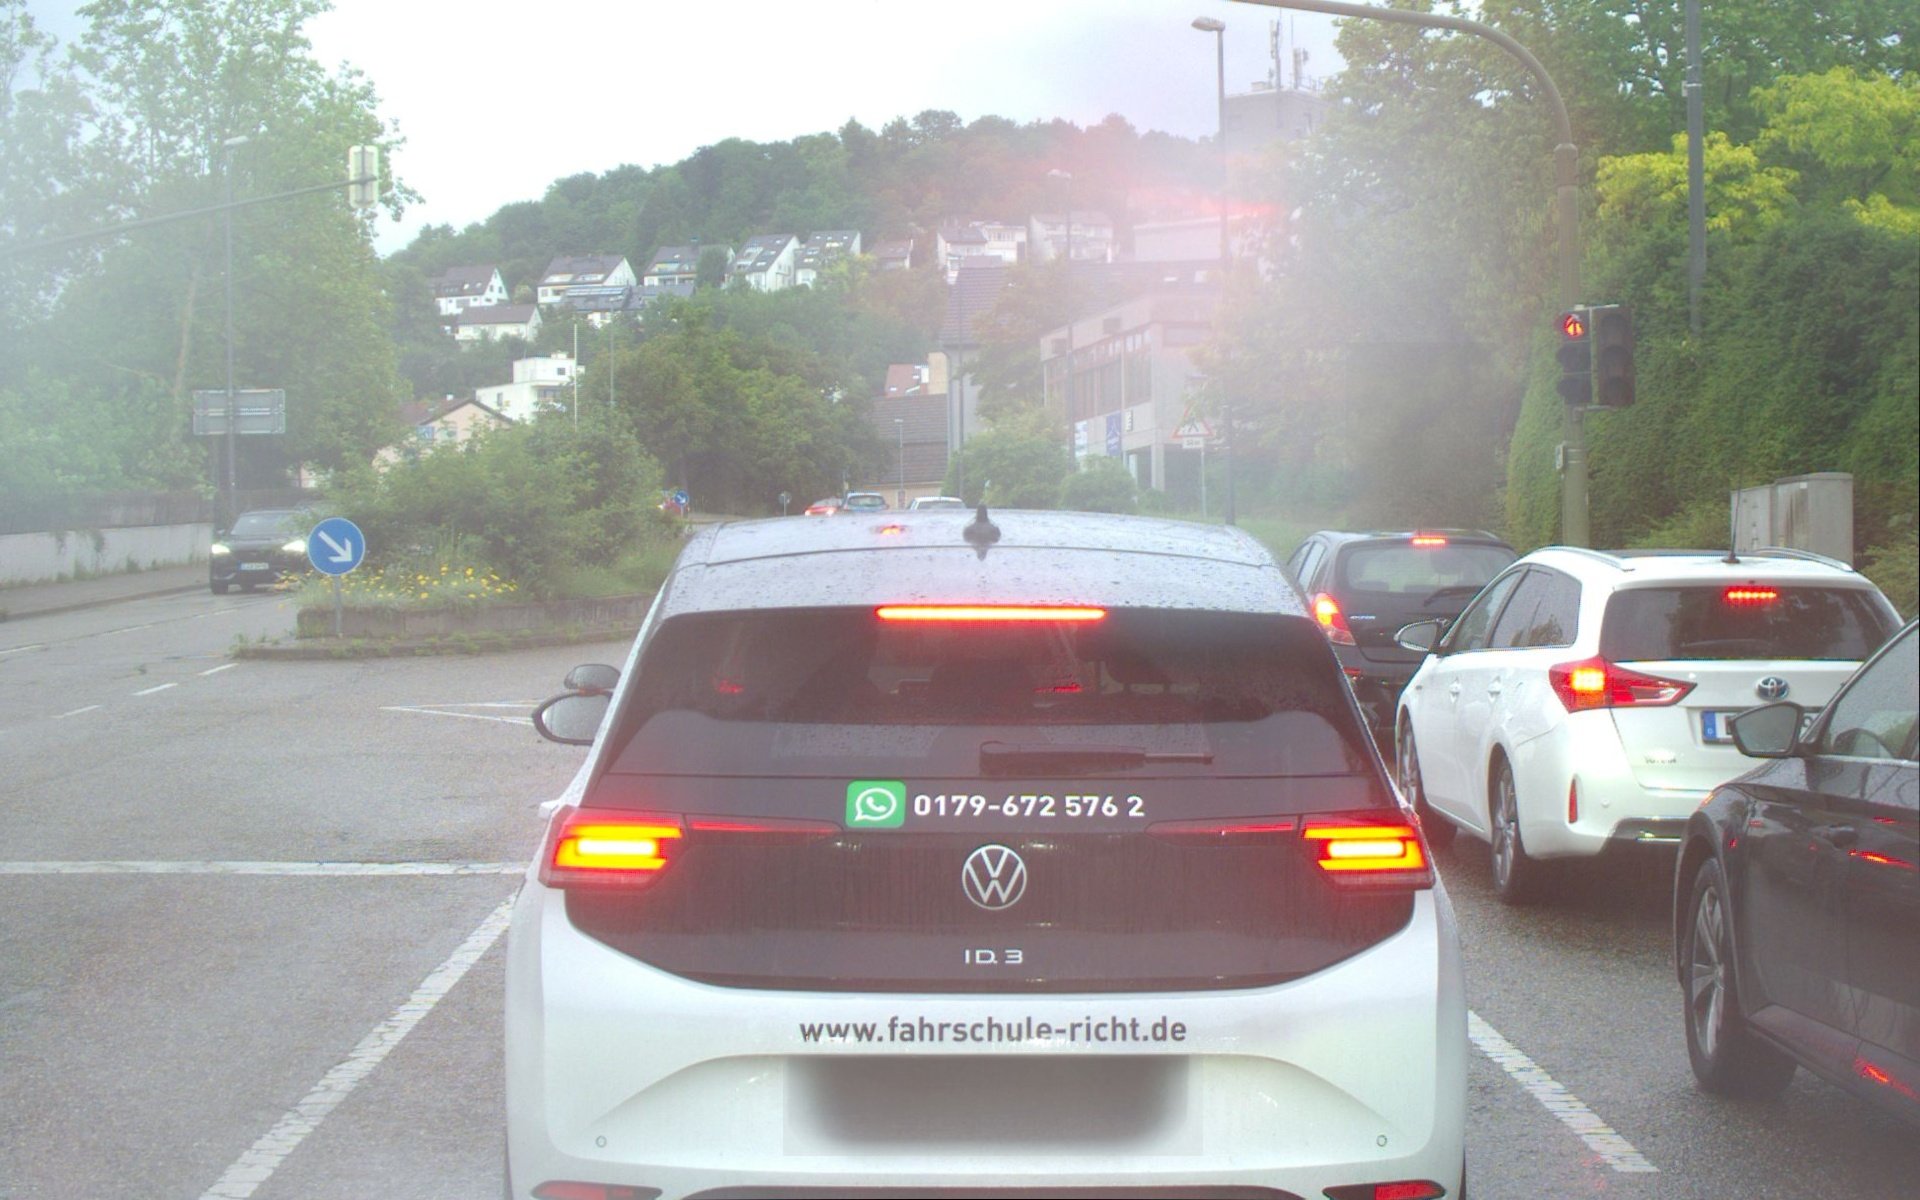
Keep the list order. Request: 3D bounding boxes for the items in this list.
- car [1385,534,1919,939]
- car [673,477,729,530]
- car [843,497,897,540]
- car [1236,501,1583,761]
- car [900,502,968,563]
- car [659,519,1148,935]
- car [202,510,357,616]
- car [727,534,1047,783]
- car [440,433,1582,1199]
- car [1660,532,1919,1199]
[{"bbox_3d":[3.074,0.478,14.916,1.837,1.461,4.117,1,1,-1],"label":"car"},{"bbox_3d":[-10.571,-3.926,140.431,1.993,2.007,4.000,1,0,0],"label":"car"},{"bbox_3d":[-3.124,-2.822,118.910,1.761,1.413,3.749,-1,2,-3],"label":"car"},{"bbox_3d":[2.948,0.167,23.318,1.775,1.576,4.000,1,1,0],"label":"car"},{"bbox_3d":[-0.672,-1.657,85.339,1.581,1.462,4.000,-1,1,-1],"label":"car"},{"bbox_3d":[-0.258,0.438,15.240,1.837,1.549,4.175,1,1,-1],"label":"car"},{"bbox_3d":[-12.440,-0.691,63.080,1.993,1.798,4.000,-3,1,0],"label":"car"},{"bbox_3d":[-0.466,0.308,22.011,1.837,1.395,3.831,1,1,-1],"label":"car"},{"bbox_3d":[0.032,0.504,7.922,1.837,1.623,4.616,1,1,-1],"label":"car"},{"bbox_3d":[2.874,0.612,7.477,1.838,1.461,4.350,1,1,1],"label":"car"}]
